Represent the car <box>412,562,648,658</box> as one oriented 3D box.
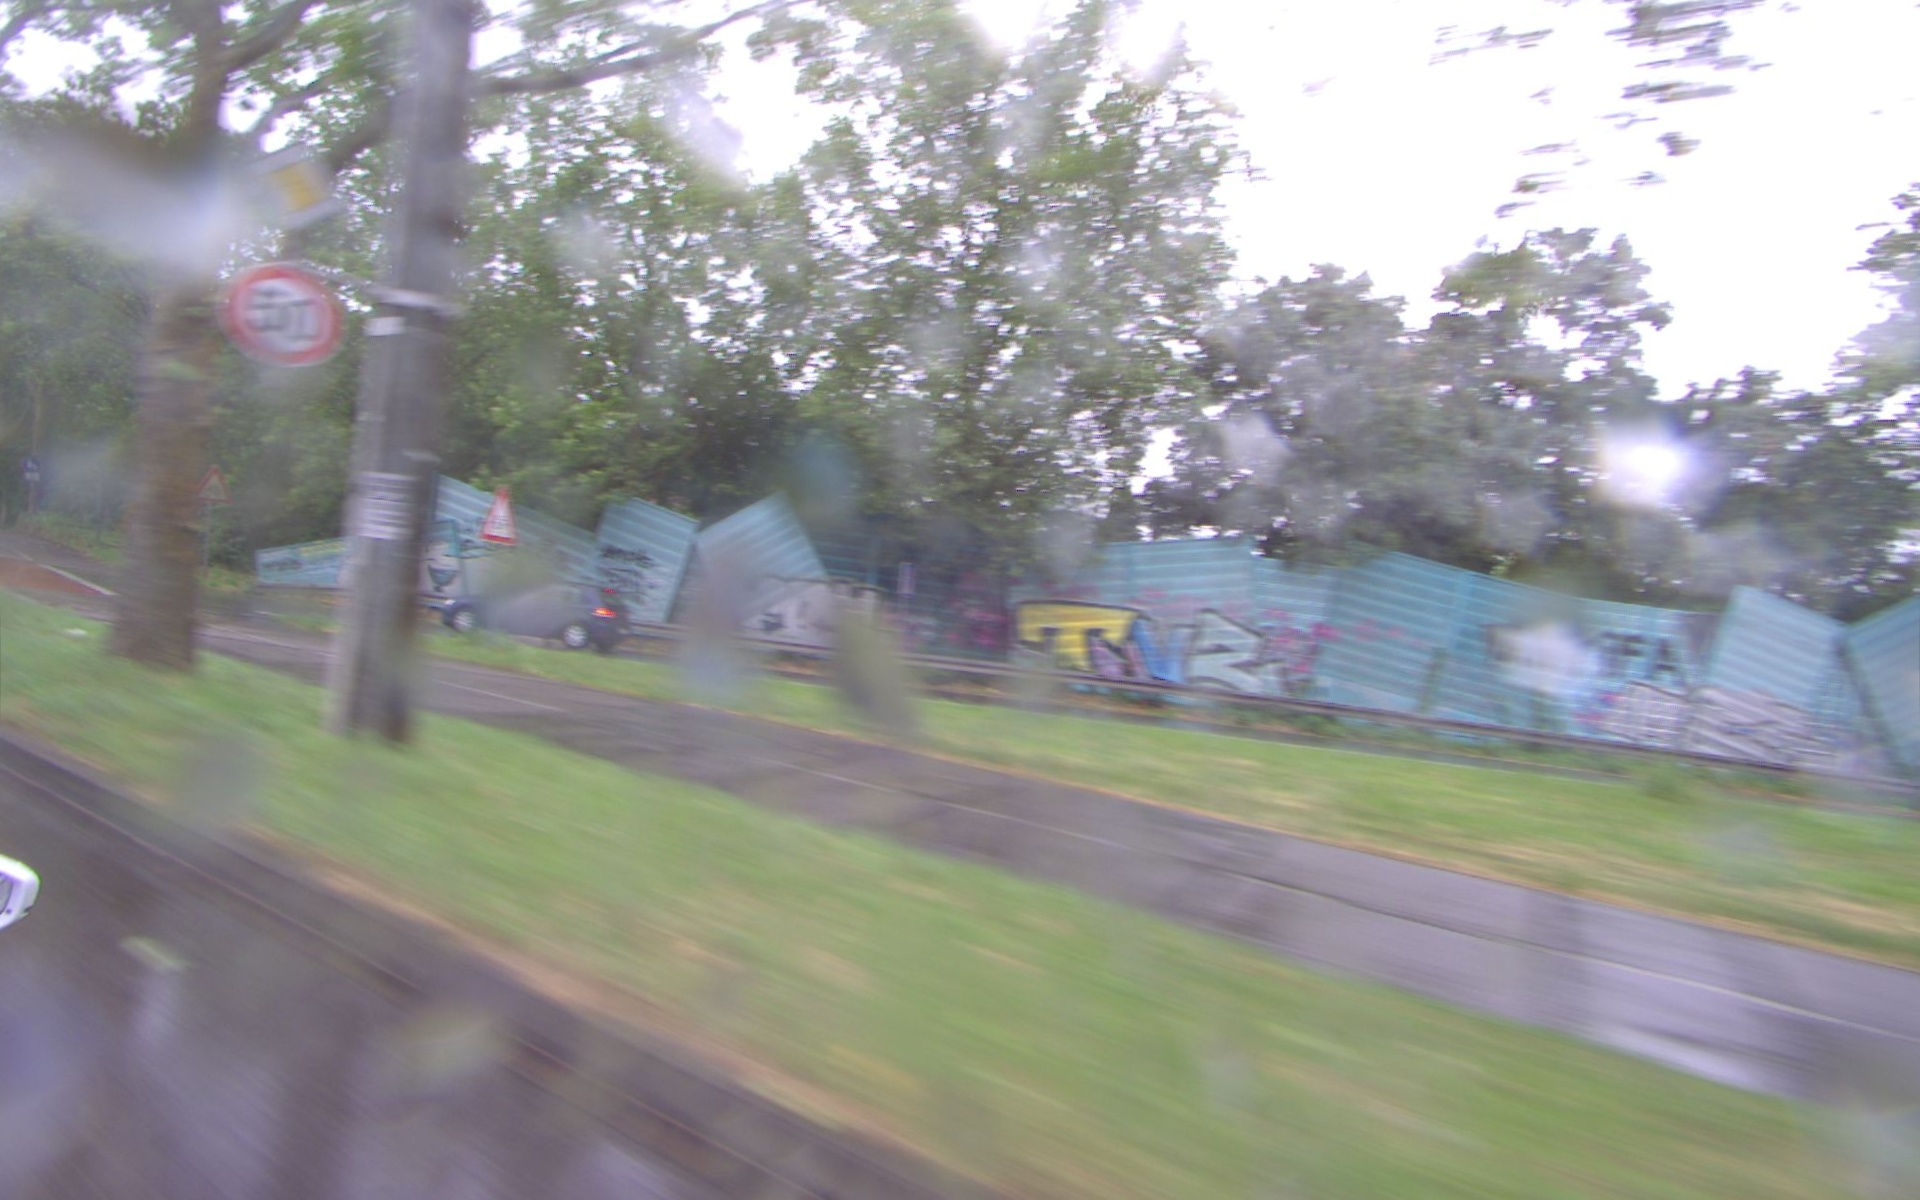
[{"bbox_3d":[-9.656,0.232,22.803,4.431,1.555,1.870,7,0,4],"label":"car"}]
